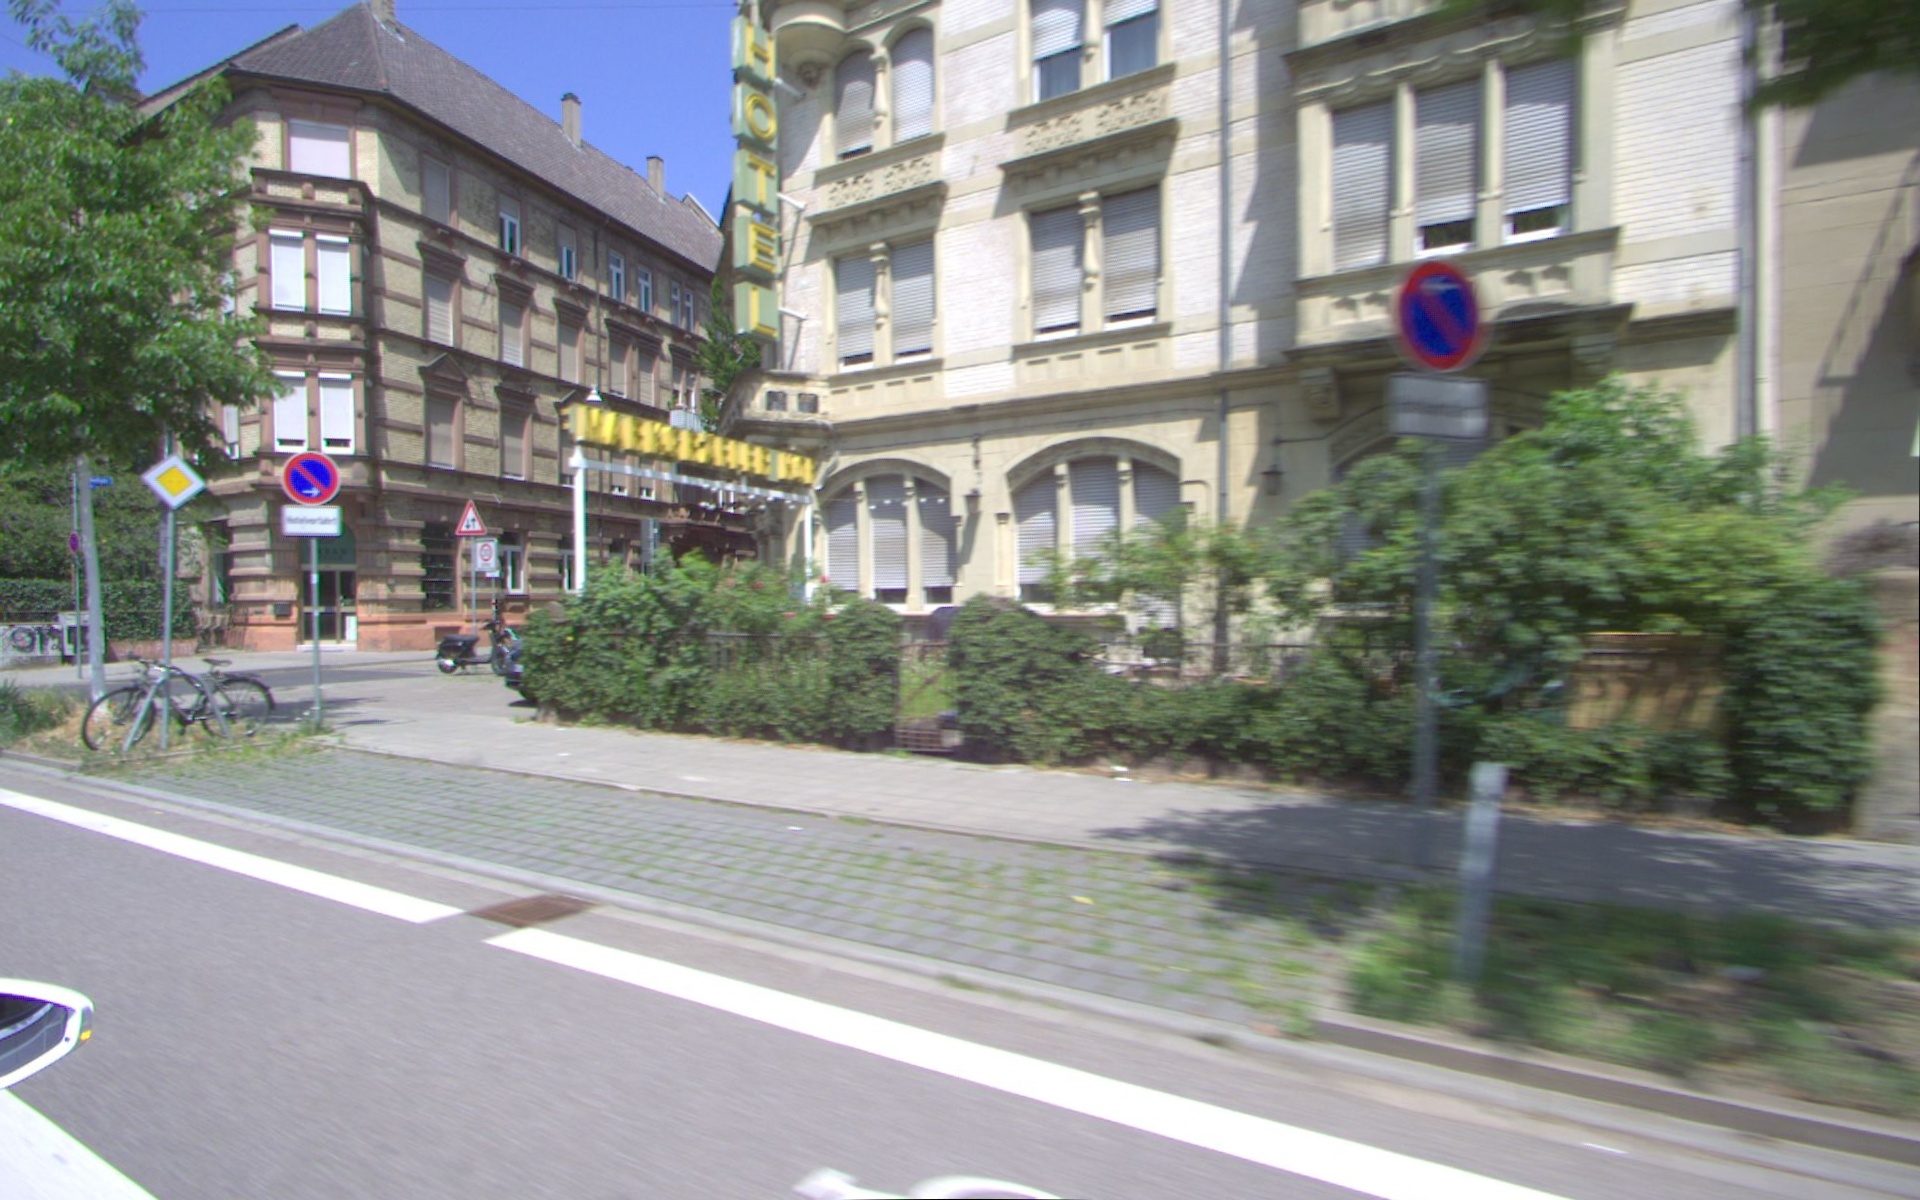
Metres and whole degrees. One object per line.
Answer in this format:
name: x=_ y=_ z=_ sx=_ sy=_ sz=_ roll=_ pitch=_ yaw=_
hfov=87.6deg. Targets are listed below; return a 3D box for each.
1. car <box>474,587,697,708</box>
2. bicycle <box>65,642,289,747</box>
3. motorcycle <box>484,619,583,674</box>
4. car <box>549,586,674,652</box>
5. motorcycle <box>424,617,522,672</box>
car: x=-5.738 y=0.673 z=15.675 sx=1.551 sy=1.691 sz=3.126 roll=0 pitch=0 yaw=24
bicycle: x=-8.336 y=0.968 z=10.755 sx=0.496 sy=0.966 sz=1.838 roll=0 pitch=0 yaw=33
motorcycle: x=-8.654 y=0.933 z=20.352 sx=1.840 sy=1.096 sz=0.524 roll=0 pitch=0 yaw=7
car: x=-11.421 y=0.618 z=33.079 sx=1.775 sy=2.040 sz=3.992 roll=0 pitch=0 yaw=20
motorcycle: x=-10.293 y=0.937 z=21.184 sx=1.849 sy=1.138 sz=0.510 roll=0 pitch=0 yaw=5
